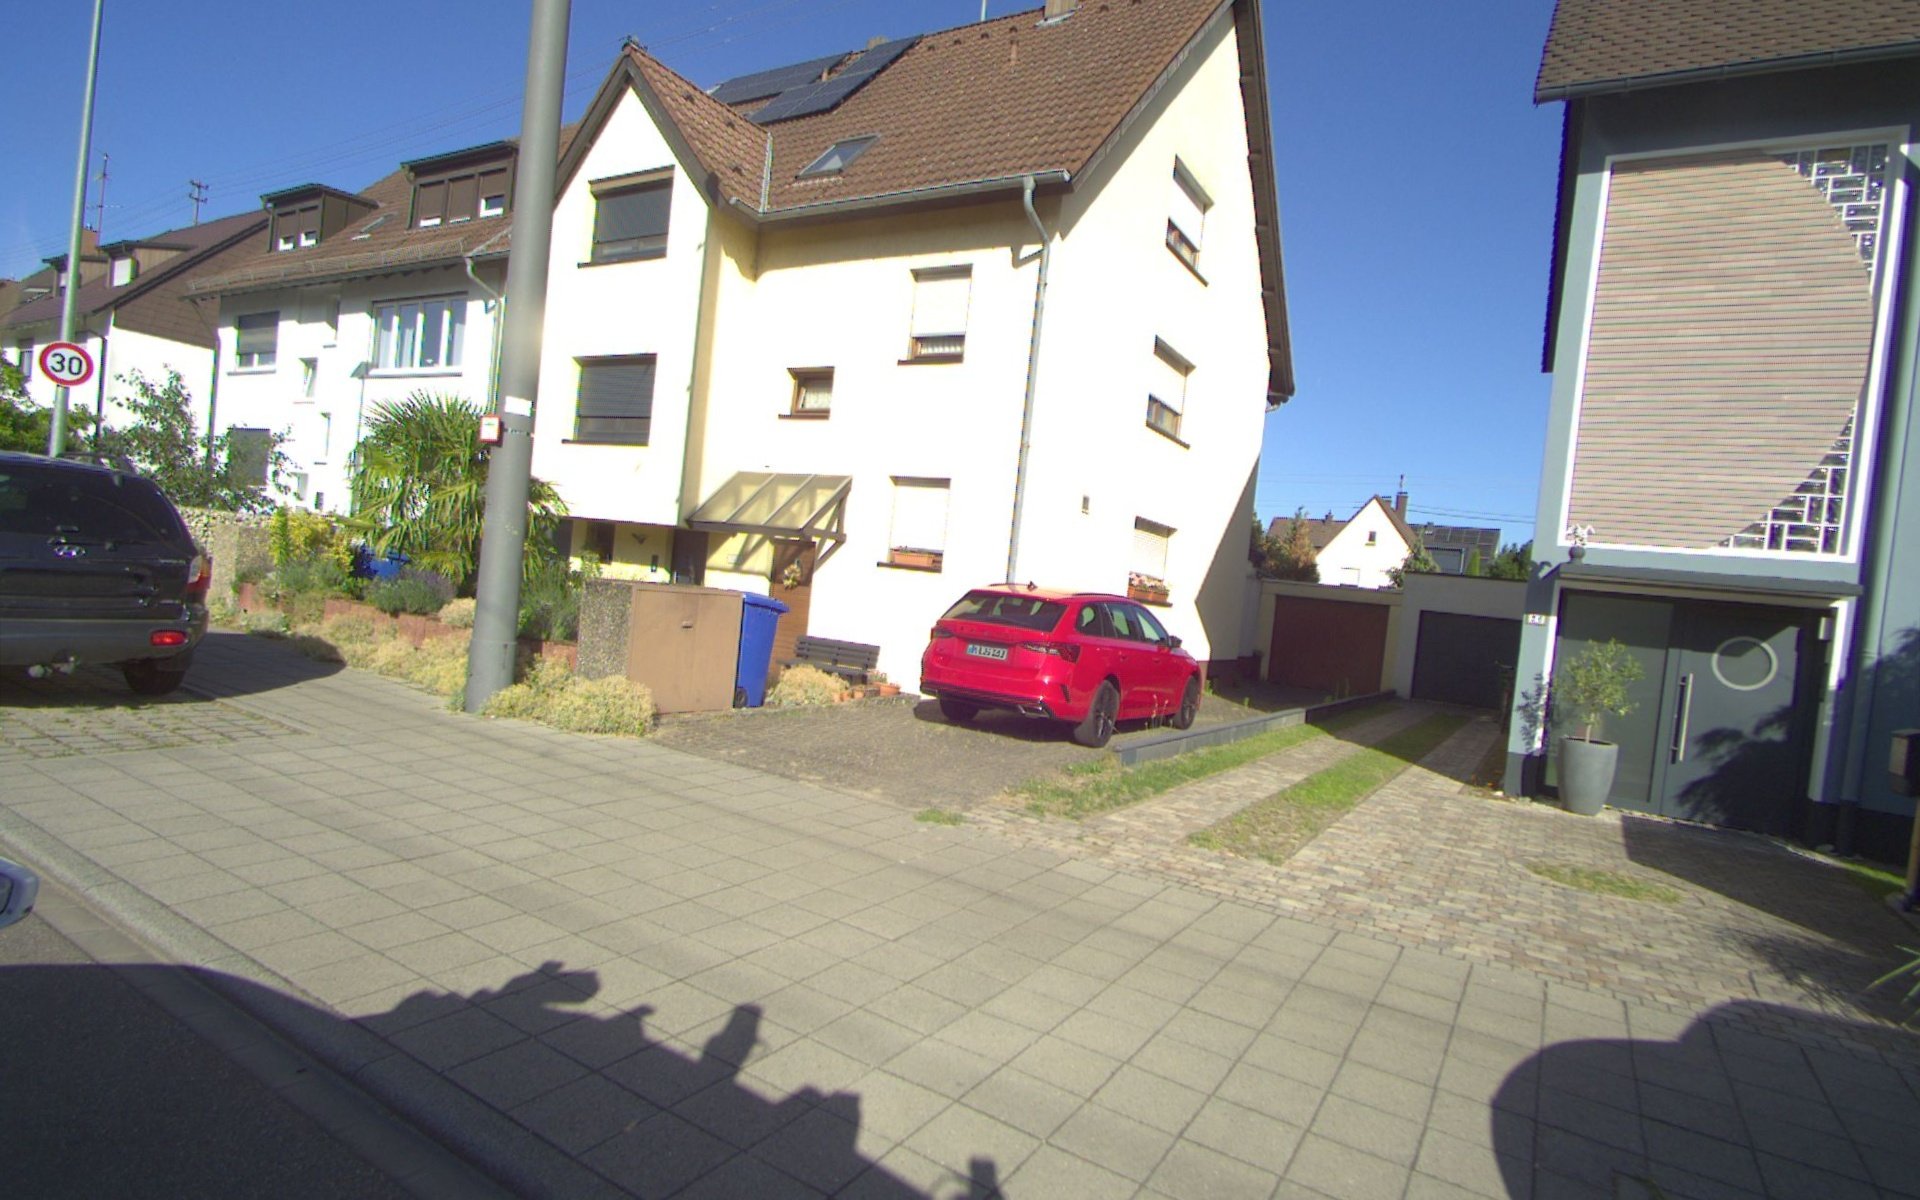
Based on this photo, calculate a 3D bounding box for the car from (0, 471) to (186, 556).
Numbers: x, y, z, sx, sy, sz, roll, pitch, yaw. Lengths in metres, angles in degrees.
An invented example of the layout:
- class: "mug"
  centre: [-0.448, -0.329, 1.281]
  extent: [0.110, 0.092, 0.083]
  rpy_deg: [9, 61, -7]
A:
- class: "car"
  centre: [-19.868, -1.966, 21.840]
  extent: [4.789, 1.464, 1.999]
  rpy_deg: [6, 2, 7]

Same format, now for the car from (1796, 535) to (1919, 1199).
- class: "car"
  centre: [3.808, 0.982, 0.490]
  extent: [4.845, 1.860, 1.963]
  rpy_deg: [7, 1, 32]

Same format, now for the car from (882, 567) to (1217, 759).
- class: "car"
  centre: [1.187, 0.617, 10.934]
  extent: [1.868, 1.486, 4.168]
  rpy_deg: [8, 2, 31]

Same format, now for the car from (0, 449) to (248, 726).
- class: "car"
  centre: [-7.488, -0.272, 7.565]
  extent: [4.399, 1.681, 1.855]
  rpy_deg: [7, 1, 32]

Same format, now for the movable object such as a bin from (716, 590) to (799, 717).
- class: "movable object such as a bin"
  centre: [-1.898, 0.495, 9.467]
  extent: [0.312, 1.129, 0.668]
  rpy_deg: [7, 3, 32]
